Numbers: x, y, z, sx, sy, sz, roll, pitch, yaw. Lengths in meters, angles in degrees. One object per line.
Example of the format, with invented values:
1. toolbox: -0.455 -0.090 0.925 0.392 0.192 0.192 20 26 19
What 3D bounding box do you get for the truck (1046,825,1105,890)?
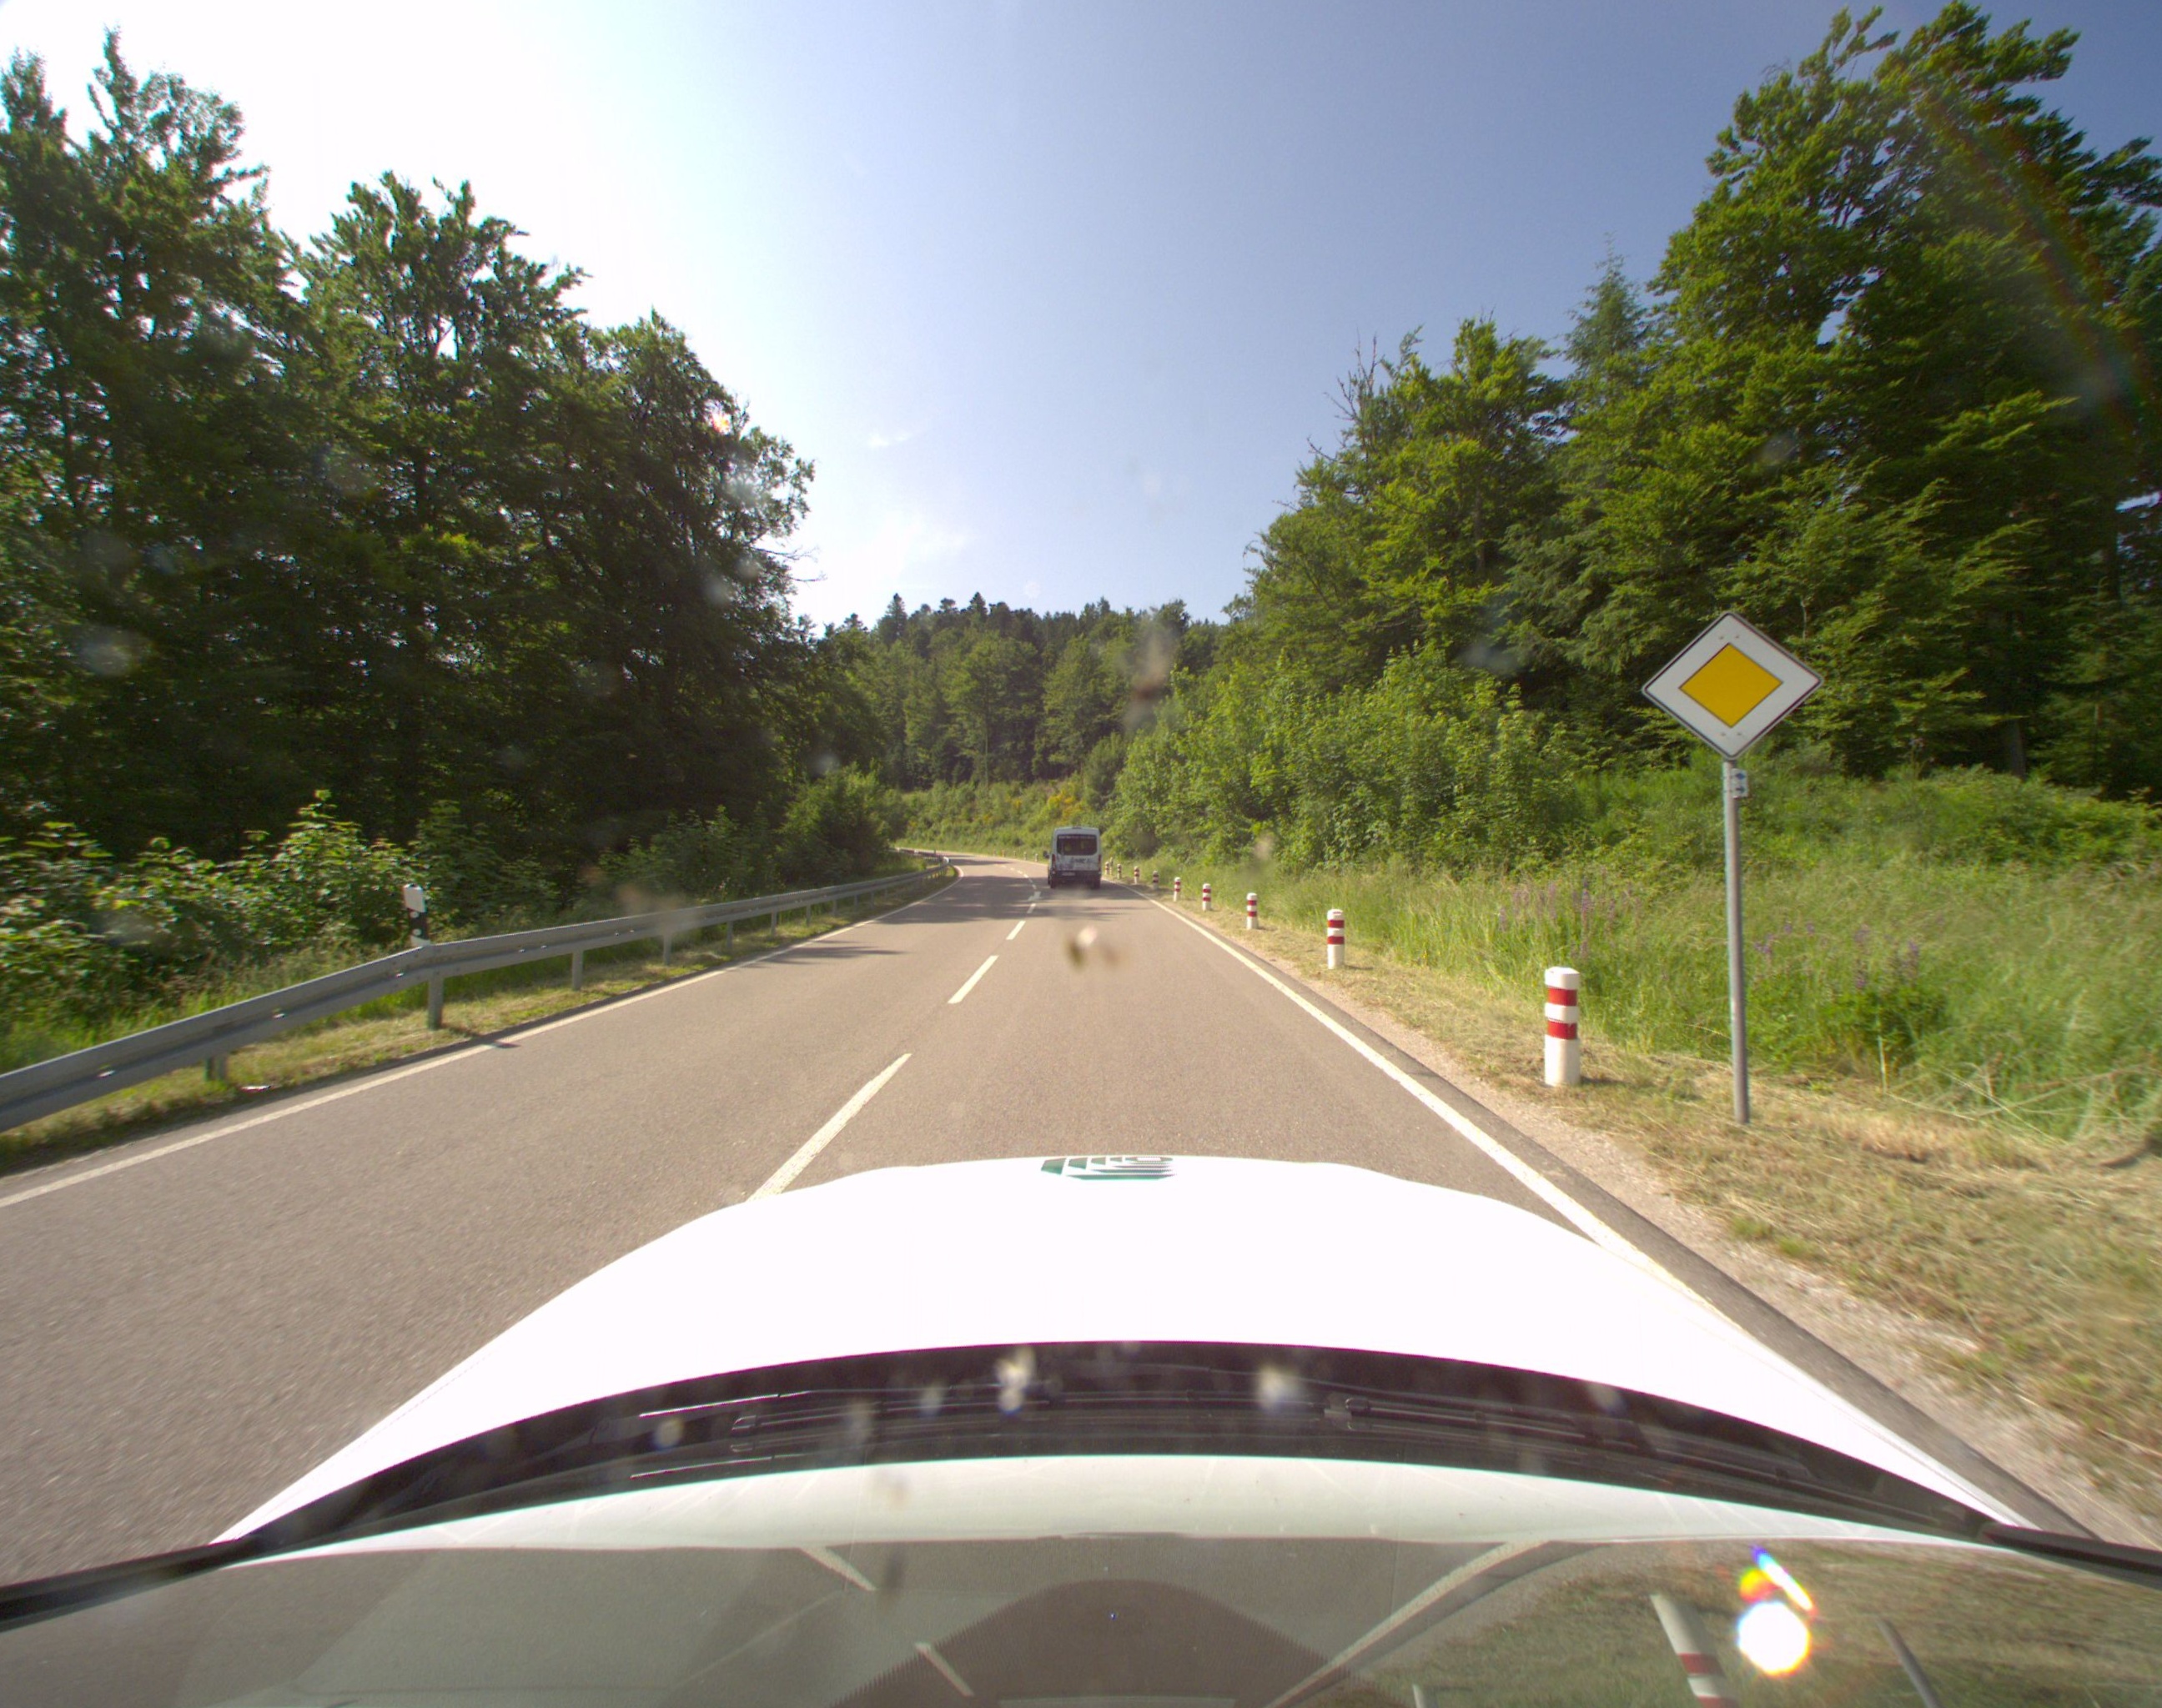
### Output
1. truck: -0.330 0.096 34.298 2.112 2.498 5.351 -1 0 -4
